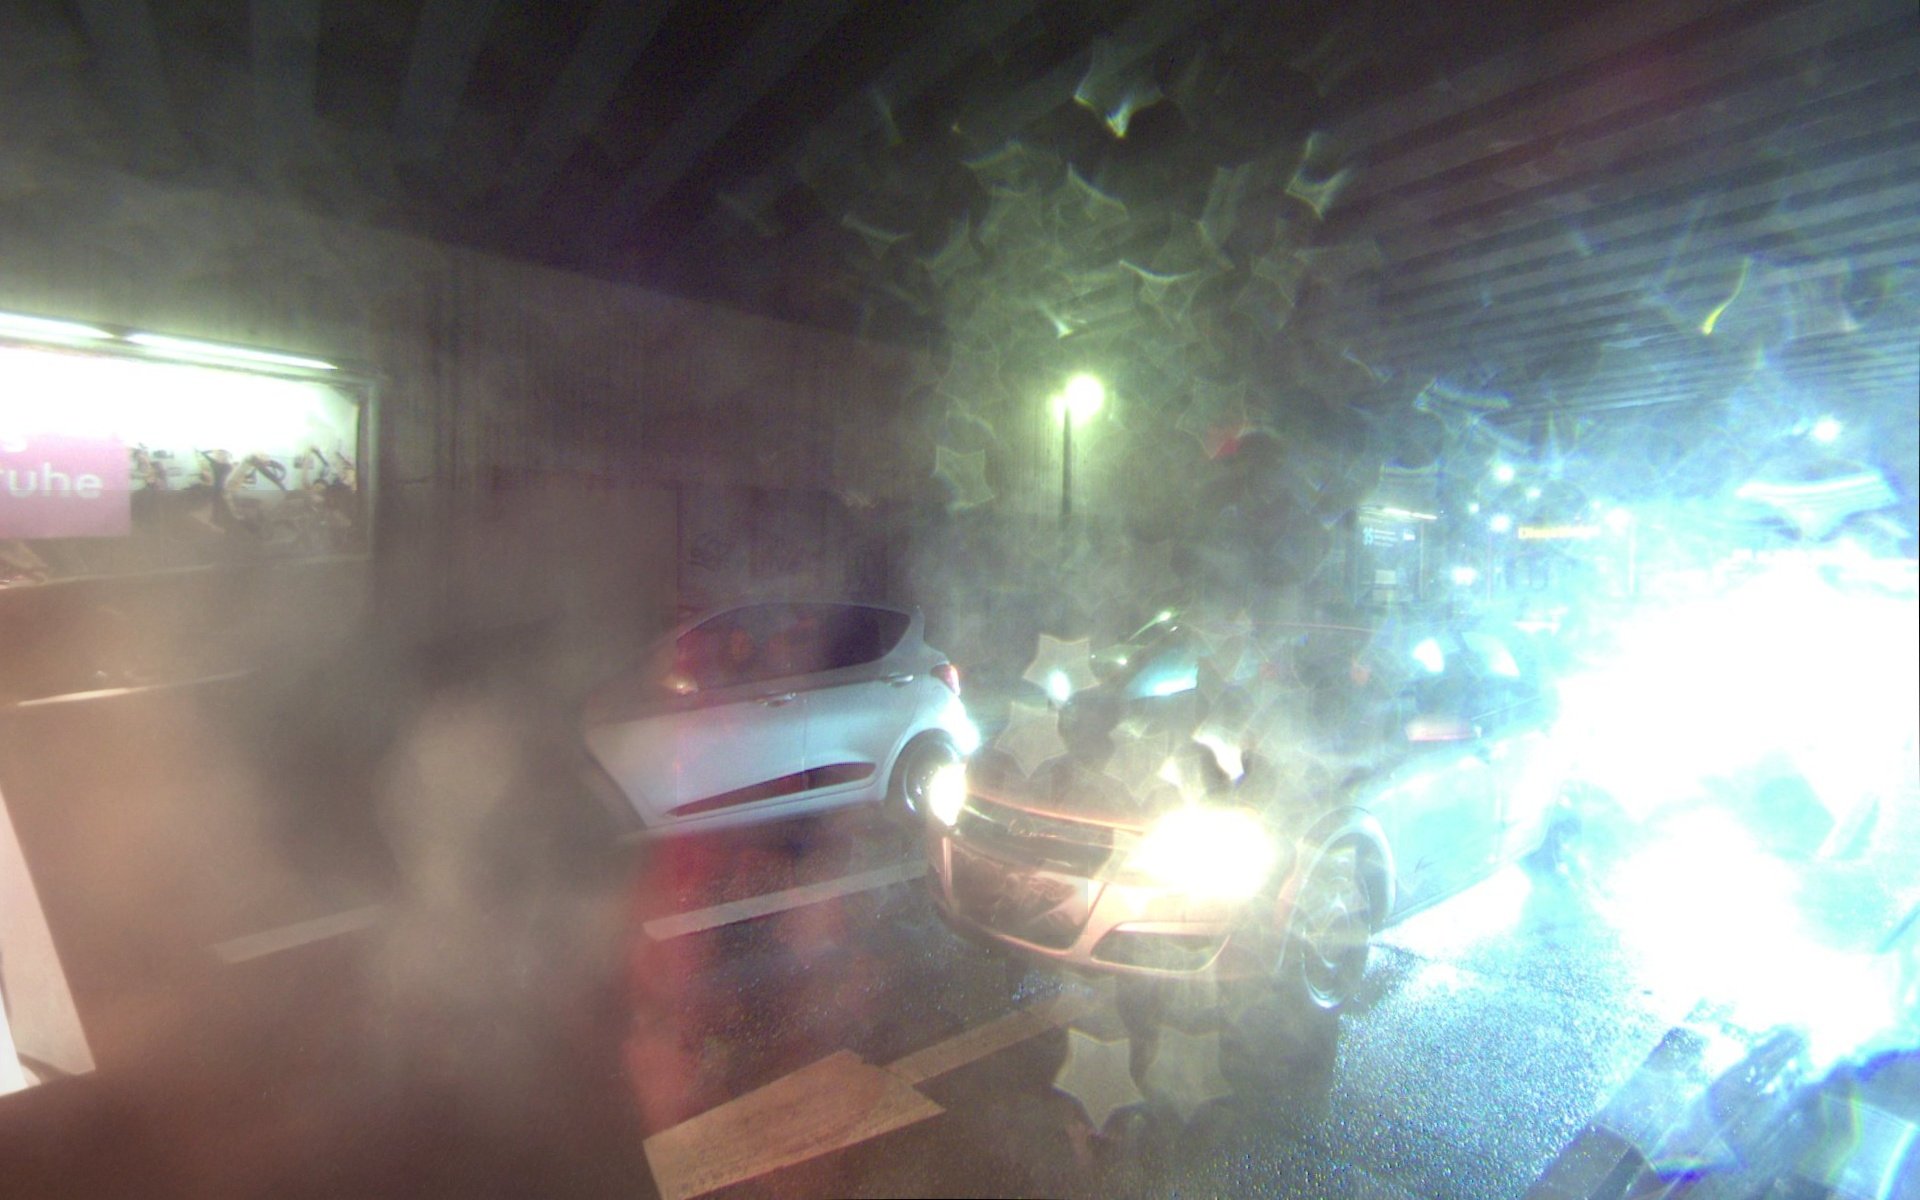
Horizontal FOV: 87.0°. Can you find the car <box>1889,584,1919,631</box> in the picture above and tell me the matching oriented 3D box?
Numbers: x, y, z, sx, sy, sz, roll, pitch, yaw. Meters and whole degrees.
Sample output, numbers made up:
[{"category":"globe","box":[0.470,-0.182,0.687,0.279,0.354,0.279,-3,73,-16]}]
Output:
[{"category":"car","box":[33.248,0.246,34.903,1.720,1.505,4.098,3,3,42]}]

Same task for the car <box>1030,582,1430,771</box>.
[{"category":"car","box":[2.975,0.589,10.473,4.705,1.505,1.723,-1,2,-42]}]

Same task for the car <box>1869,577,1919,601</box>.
[{"category":"car","box":[63.376,-0.761,68.123,2.021,1.505,4.461,2,2,25]}]

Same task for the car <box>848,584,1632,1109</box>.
[{"category":"car","box":[1.627,0.664,4.868,4.091,1.464,1.723,-1,1,-42]}]

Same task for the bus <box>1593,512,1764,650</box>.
[{"category":"bus","box":[20.514,-0.541,28.598,2.733,3.278,9.550,1,1,43]}]

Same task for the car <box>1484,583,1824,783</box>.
[{"category":"car","box":[6.745,0.631,9.661,4.091,1.506,1.722,-1,-2,-42]}]

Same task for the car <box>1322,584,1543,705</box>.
[{"category":"car","box":[7.170,0.543,15.165,1.721,1.505,4.096,3,3,44]}]

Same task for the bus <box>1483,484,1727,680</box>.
[{"category":"bus","box":[14.061,-0.392,21.591,2.733,3.318,9.550,1,1,43]}]

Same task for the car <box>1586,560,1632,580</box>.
[{"category":"car","box":[46.354,-2.137,72.365,1.685,1.407,3.979,0,1,17]}]

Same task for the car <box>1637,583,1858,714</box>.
[{"category":"car","box":[10.825,0.543,13.817,3.906,1.481,1.696,-1,3,-42]}]

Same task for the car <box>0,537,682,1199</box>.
[{"category":"car","box":[-2.671,0.631,1.015,4.308,1.464,1.723,-1,3,-42]}]

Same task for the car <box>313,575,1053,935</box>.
[{"category":"car","box":[-1.455,0.616,6.260,4.091,1.464,1.723,-1,3,-42]}]

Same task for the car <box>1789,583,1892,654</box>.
[{"category":"car","box":[21.383,0.386,24.552,1.720,1.505,4.098,3,3,42]}]
